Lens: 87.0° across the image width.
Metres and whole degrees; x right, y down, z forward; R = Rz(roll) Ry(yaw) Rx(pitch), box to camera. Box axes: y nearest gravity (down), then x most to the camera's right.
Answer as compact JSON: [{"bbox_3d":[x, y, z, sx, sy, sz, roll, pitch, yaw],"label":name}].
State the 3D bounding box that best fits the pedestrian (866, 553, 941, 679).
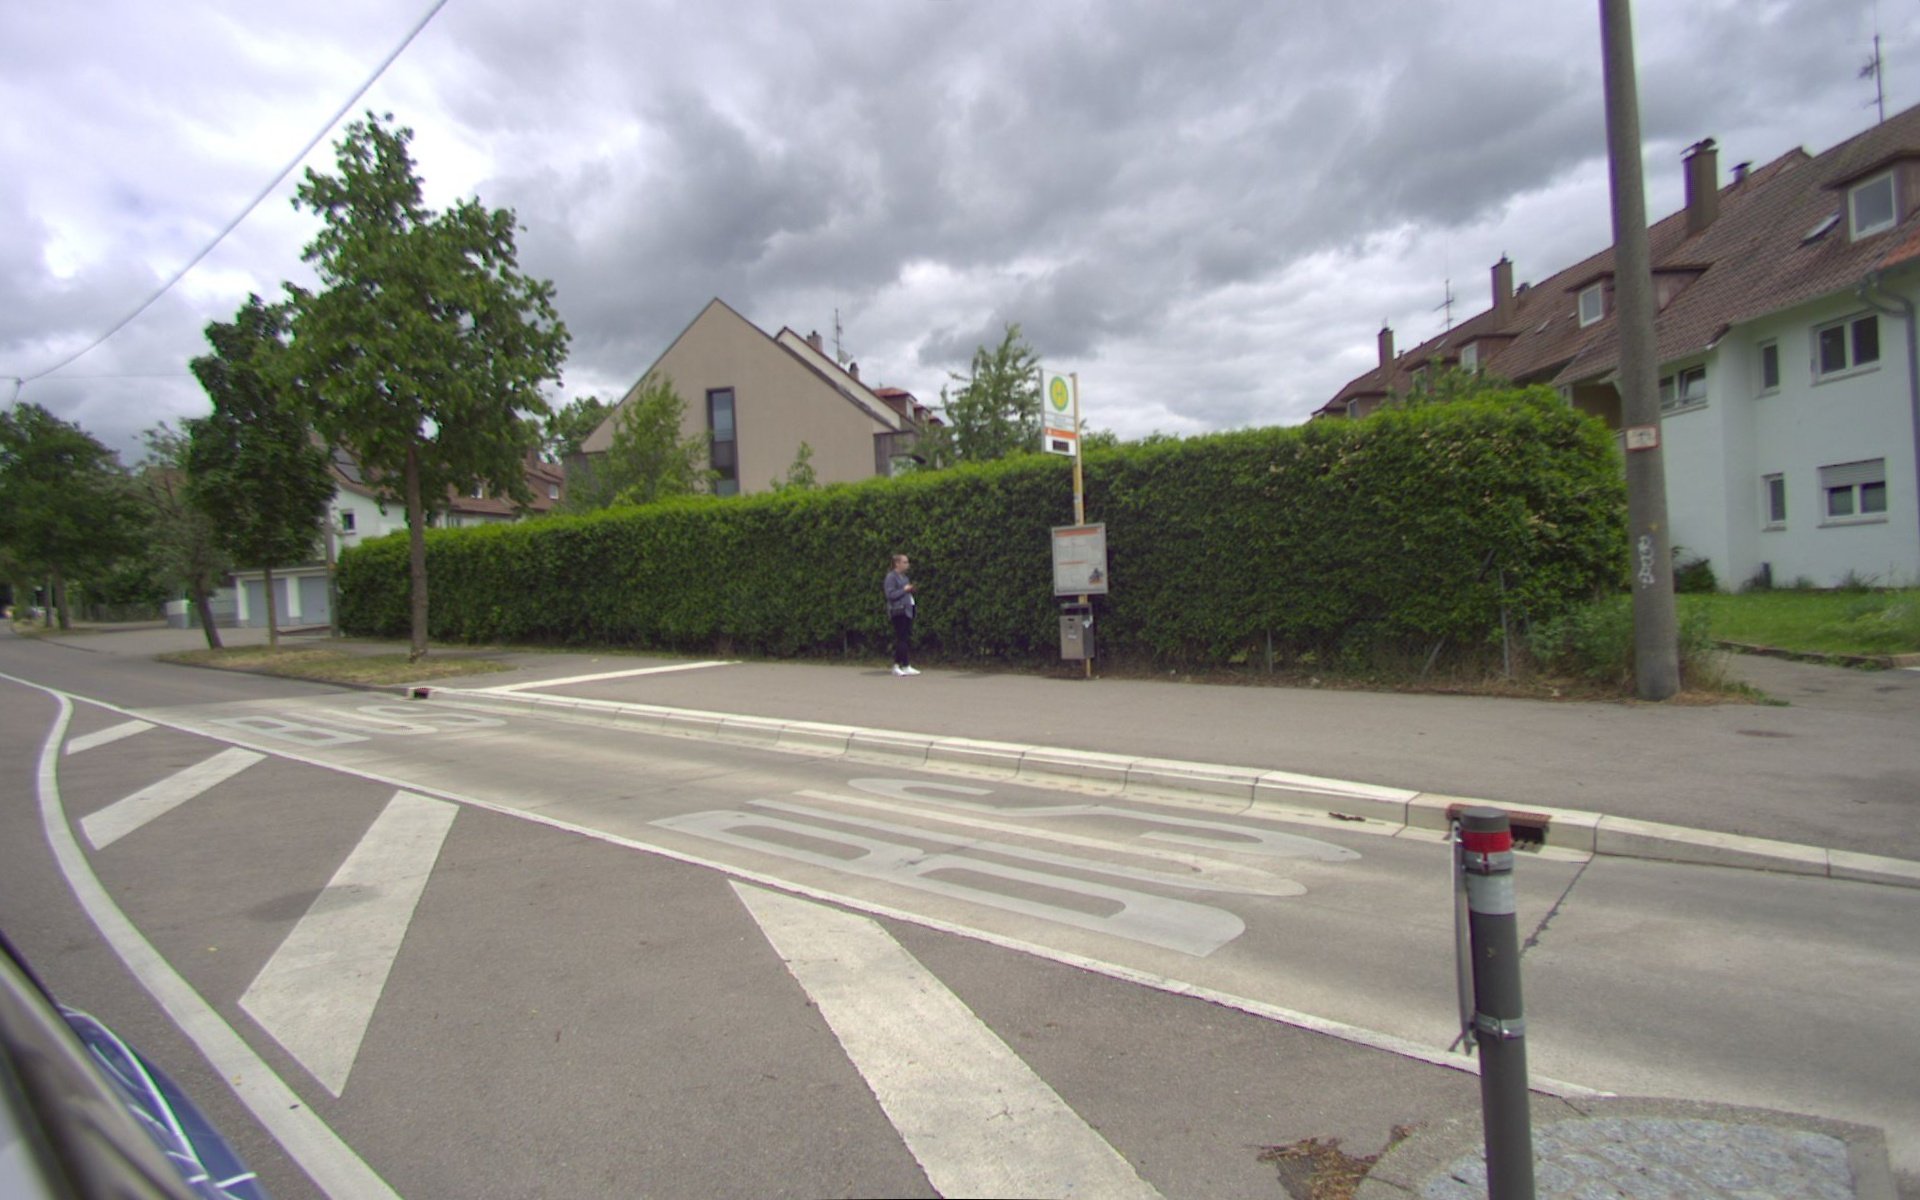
[{"bbox_3d":[-0.798,0.209,14.330,0.776,1.723,0.686,-1,1,34],"label":"pedestrian"}]
